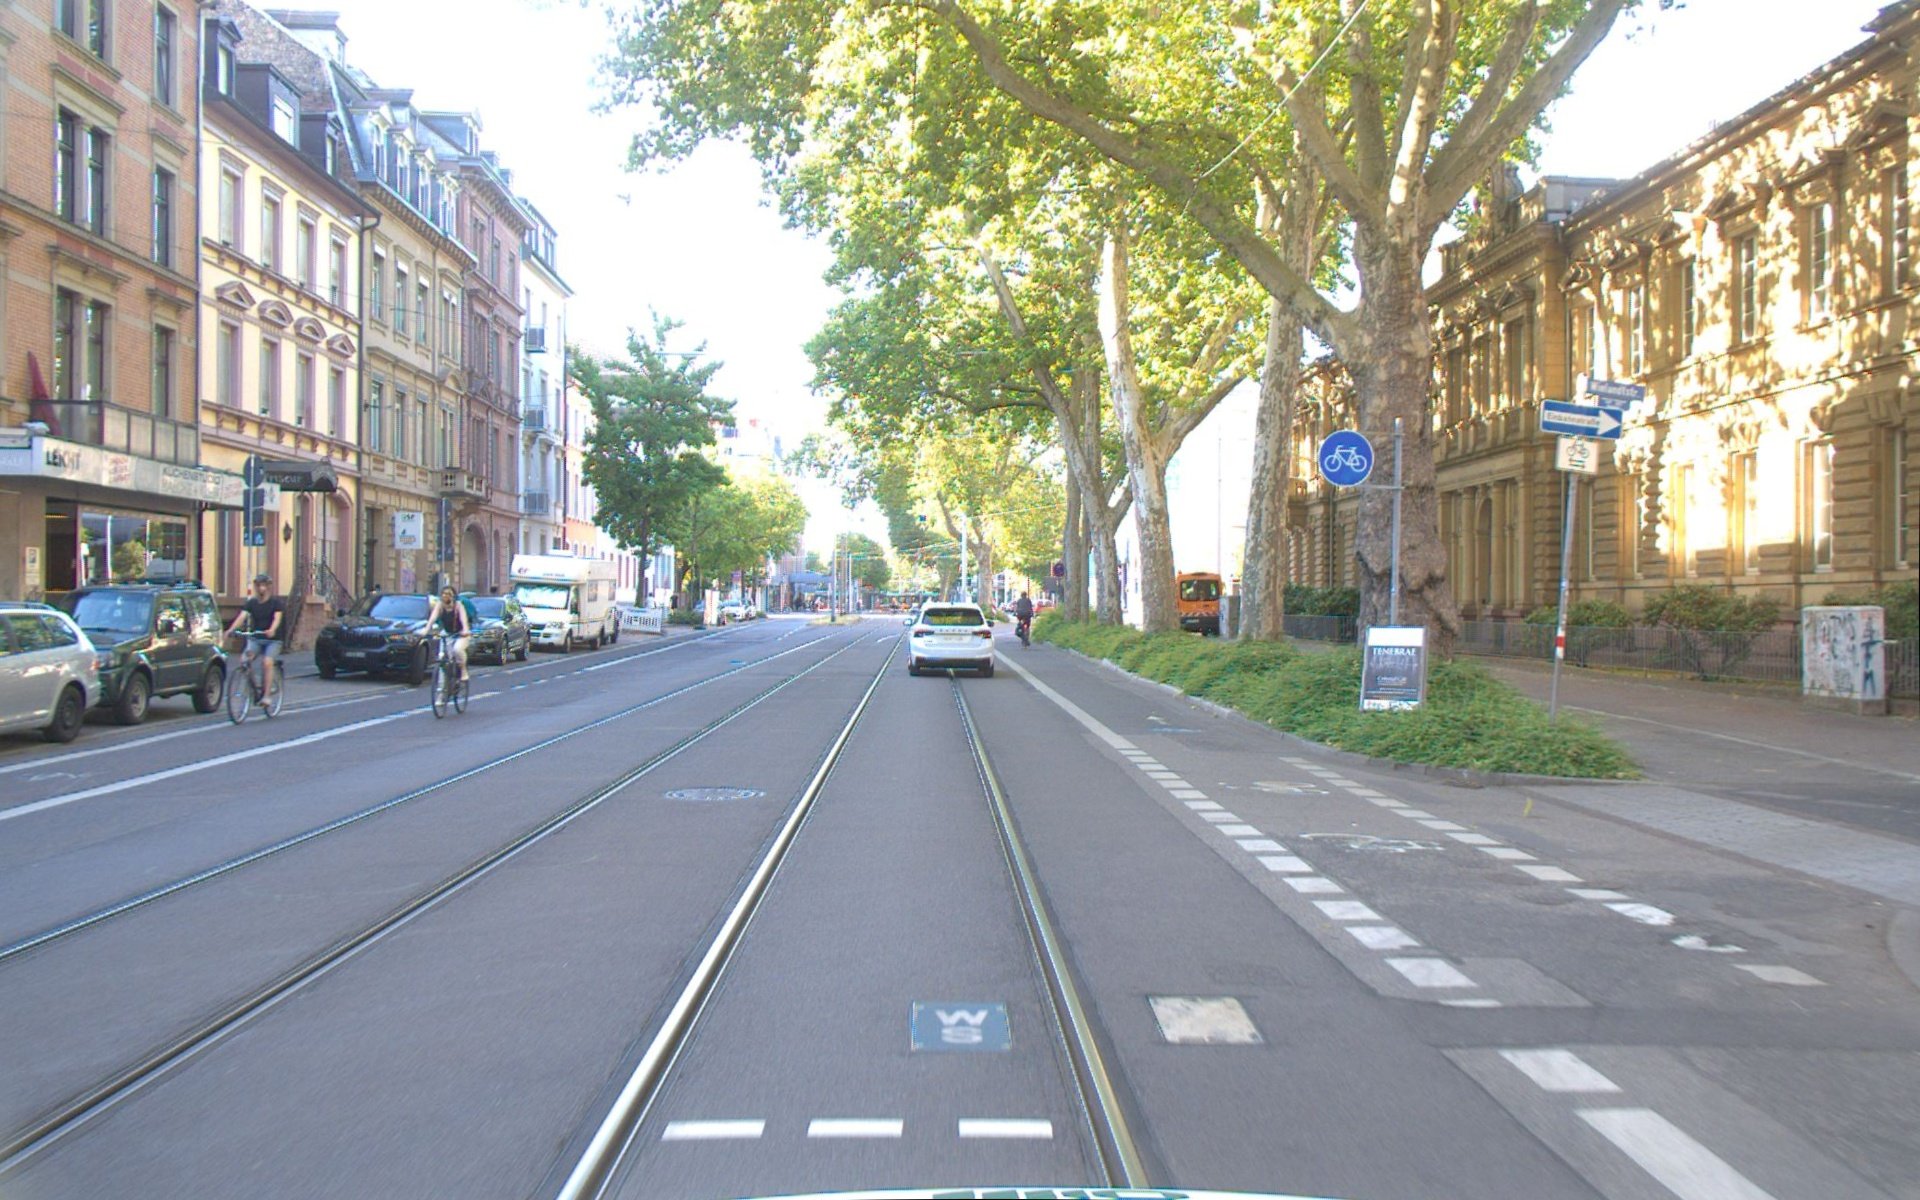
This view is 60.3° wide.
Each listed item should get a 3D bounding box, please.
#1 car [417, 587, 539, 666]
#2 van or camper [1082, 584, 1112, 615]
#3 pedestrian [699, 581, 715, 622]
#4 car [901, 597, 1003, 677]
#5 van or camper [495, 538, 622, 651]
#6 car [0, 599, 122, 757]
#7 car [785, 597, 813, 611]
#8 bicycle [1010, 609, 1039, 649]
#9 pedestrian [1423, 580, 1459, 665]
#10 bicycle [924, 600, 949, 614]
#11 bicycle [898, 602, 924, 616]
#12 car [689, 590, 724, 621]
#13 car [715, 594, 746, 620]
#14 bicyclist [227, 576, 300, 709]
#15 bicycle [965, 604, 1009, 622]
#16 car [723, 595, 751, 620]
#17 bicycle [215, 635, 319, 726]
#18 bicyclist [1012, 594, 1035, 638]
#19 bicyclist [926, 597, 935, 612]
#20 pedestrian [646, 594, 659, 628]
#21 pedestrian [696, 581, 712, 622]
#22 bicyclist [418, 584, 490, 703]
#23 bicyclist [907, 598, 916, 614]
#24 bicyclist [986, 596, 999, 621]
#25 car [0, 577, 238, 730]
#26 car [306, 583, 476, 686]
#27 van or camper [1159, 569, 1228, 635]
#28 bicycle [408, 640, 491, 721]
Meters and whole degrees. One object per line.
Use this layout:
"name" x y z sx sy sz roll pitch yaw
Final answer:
"car" -11.860 0.632 41.016 1.925 1.813 4.467 1 0 -4
"van or camper" 10.925 -0.060 132.325 1.953 2.384 3.999 2 0 -2
"pedestrian" -12.935 0.071 84.622 0.633 2.037 0.750 1 0 2
"car" -0.225 0.720 33.852 1.806 1.506 3.835 1 0 -4
"van or camper" -12.220 -0.156 50.878 2.171 3.195 7.112 1 0 -1
"car" -10.430 0.767 16.735 1.791 1.529 4.447 2 0 -3
"car" -22.869 0.564 234.692 3.714 1.850 1.804 2 0 4
"bicycle" 2.001 0.889 51.766 0.666 1.175 2.963 2 0 -2
"pedestrian" 9.581 0.448 32.914 0.634 1.661 0.872 1 -1 17
"bicycle" -2.373 0.722 164.764 2.660 1.351 0.607 0 0 -37
"bicycle" -4.826 0.910 163.008 2.660 1.351 0.607 0 0 -37
"car" -14.505 0.308 94.928 1.608 1.756 3.781 1 0 -4
"car" -15.856 0.482 114.481 1.758 1.756 3.781 1 0 -4
"bicyclist" -8.977 0.543 21.329 0.524 1.663 0.896 -2 0 -1
"bicycle" 1.714 0.821 104.897 2.711 1.017 0.593 2 0 12
"car" -16.103 0.508 119.564 1.758 1.756 3.781 1 0 -4
"bicycle" -8.942 1.010 21.409 0.475 1.066 2.039 -2 0 -1
"bicyclist" 1.992 0.505 51.772 0.665 1.362 0.525 2 -1 -3
"bicyclist" -2.945 0.439 164.320 0.626 1.549 0.602 -1 1 -37
"pedestrian" -16.821 0.595 90.604 0.589 1.803 0.700 2 -1 -6
"pedestrian" -12.943 0.076 83.570 0.588 2.037 0.750 1 0 2
"bicyclist" -6.695 0.558 21.941 0.625 1.529 1.069 -1 0 -1
"bicyclist" -4.795 0.557 163.025 0.626 1.549 0.602 -1 1 -37
"bicyclist" 2.063 0.540 104.829 0.721 1.617 0.587 0 0 10
"car" -10.758 0.623 21.180 1.525 1.762 3.683 1 0 -3
"car" -11.283 0.646 33.189 1.925 1.812 4.934 3 0 -4
"van or camper" 9.351 0.077 66.672 1.986 2.507 5.107 2 0 0
"bicycle" -6.673 1.030 21.684 0.488 0.959 1.921 -2 0 -1
